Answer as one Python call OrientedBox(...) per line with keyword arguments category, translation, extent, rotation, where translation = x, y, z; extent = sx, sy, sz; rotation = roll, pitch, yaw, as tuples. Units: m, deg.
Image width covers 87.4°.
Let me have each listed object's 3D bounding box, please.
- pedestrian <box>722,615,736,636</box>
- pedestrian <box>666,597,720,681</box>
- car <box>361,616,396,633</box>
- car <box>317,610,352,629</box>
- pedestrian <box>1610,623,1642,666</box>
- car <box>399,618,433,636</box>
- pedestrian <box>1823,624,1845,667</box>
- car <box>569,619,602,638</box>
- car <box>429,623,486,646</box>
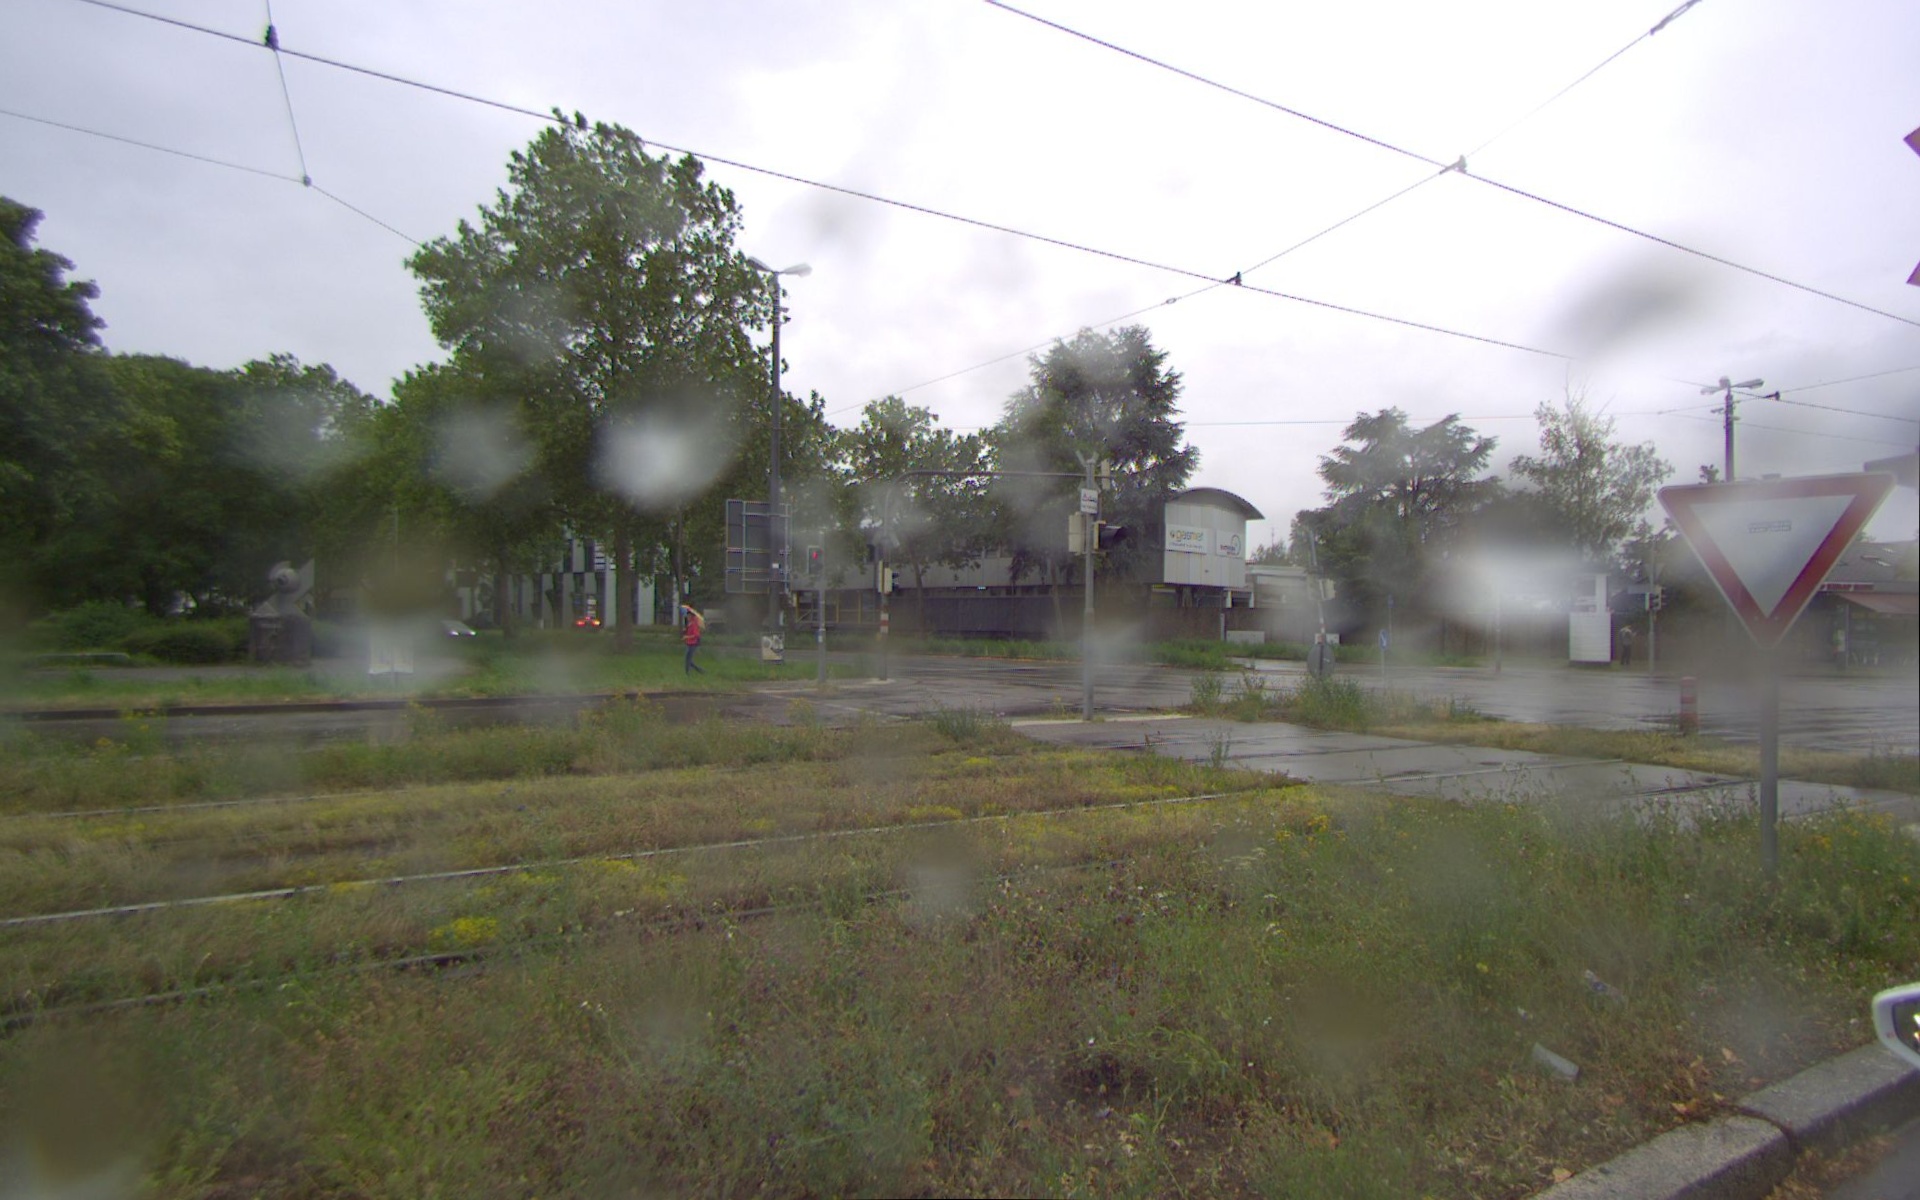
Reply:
OrientedBox(category="pedestrian", translation=(-19.090, 2.128, 82.942), extent=(0.810, 1.690, 0.672), rotation=(2, 0, 27))
OrientedBox(category="pedestrian", translation=(-6.629, 0.951, 24.900), extent=(0.998, 2.017, 0.945), rotation=(2, 0, -34))
OrientedBox(category="car", translation=(-65.897, 2.756, 113.860), extent=(3.934, 1.806, 1.993), rotation=(2, 0, 36))
OrientedBox(category="car", translation=(-75.196, 2.362, 120.799), extent=(3.932, 2.116, 2.123), rotation=(2, 0, 33))
OrientedBox(category="pedestrian", translation=(29.181, 1.959, 44.008), extent=(0.871, 1.821, 0.725), rotation=(1, 1, -13))
OrientedBox(category="car", translation=(-59.567, 2.989, 110.056), extent=(3.940, 1.806, 1.990), rotation=(2, 0, 41))
OrientedBox(category="pedestrian", translation=(42.449, 2.190, 48.803), extent=(0.714, 2.040, 0.791), rotation=(2, 0, 40))
OrientedBox(category="car", translation=(-31.767, 2.413, 85.089), extent=(1.676, 1.417, 4.093), rotation=(2, 0, -35))
OrientedBox(category="car", translation=(-32.013, 2.188, 63.985), extent=(4.251, 1.420, 1.795), rotation=(-1, -1, 42))
